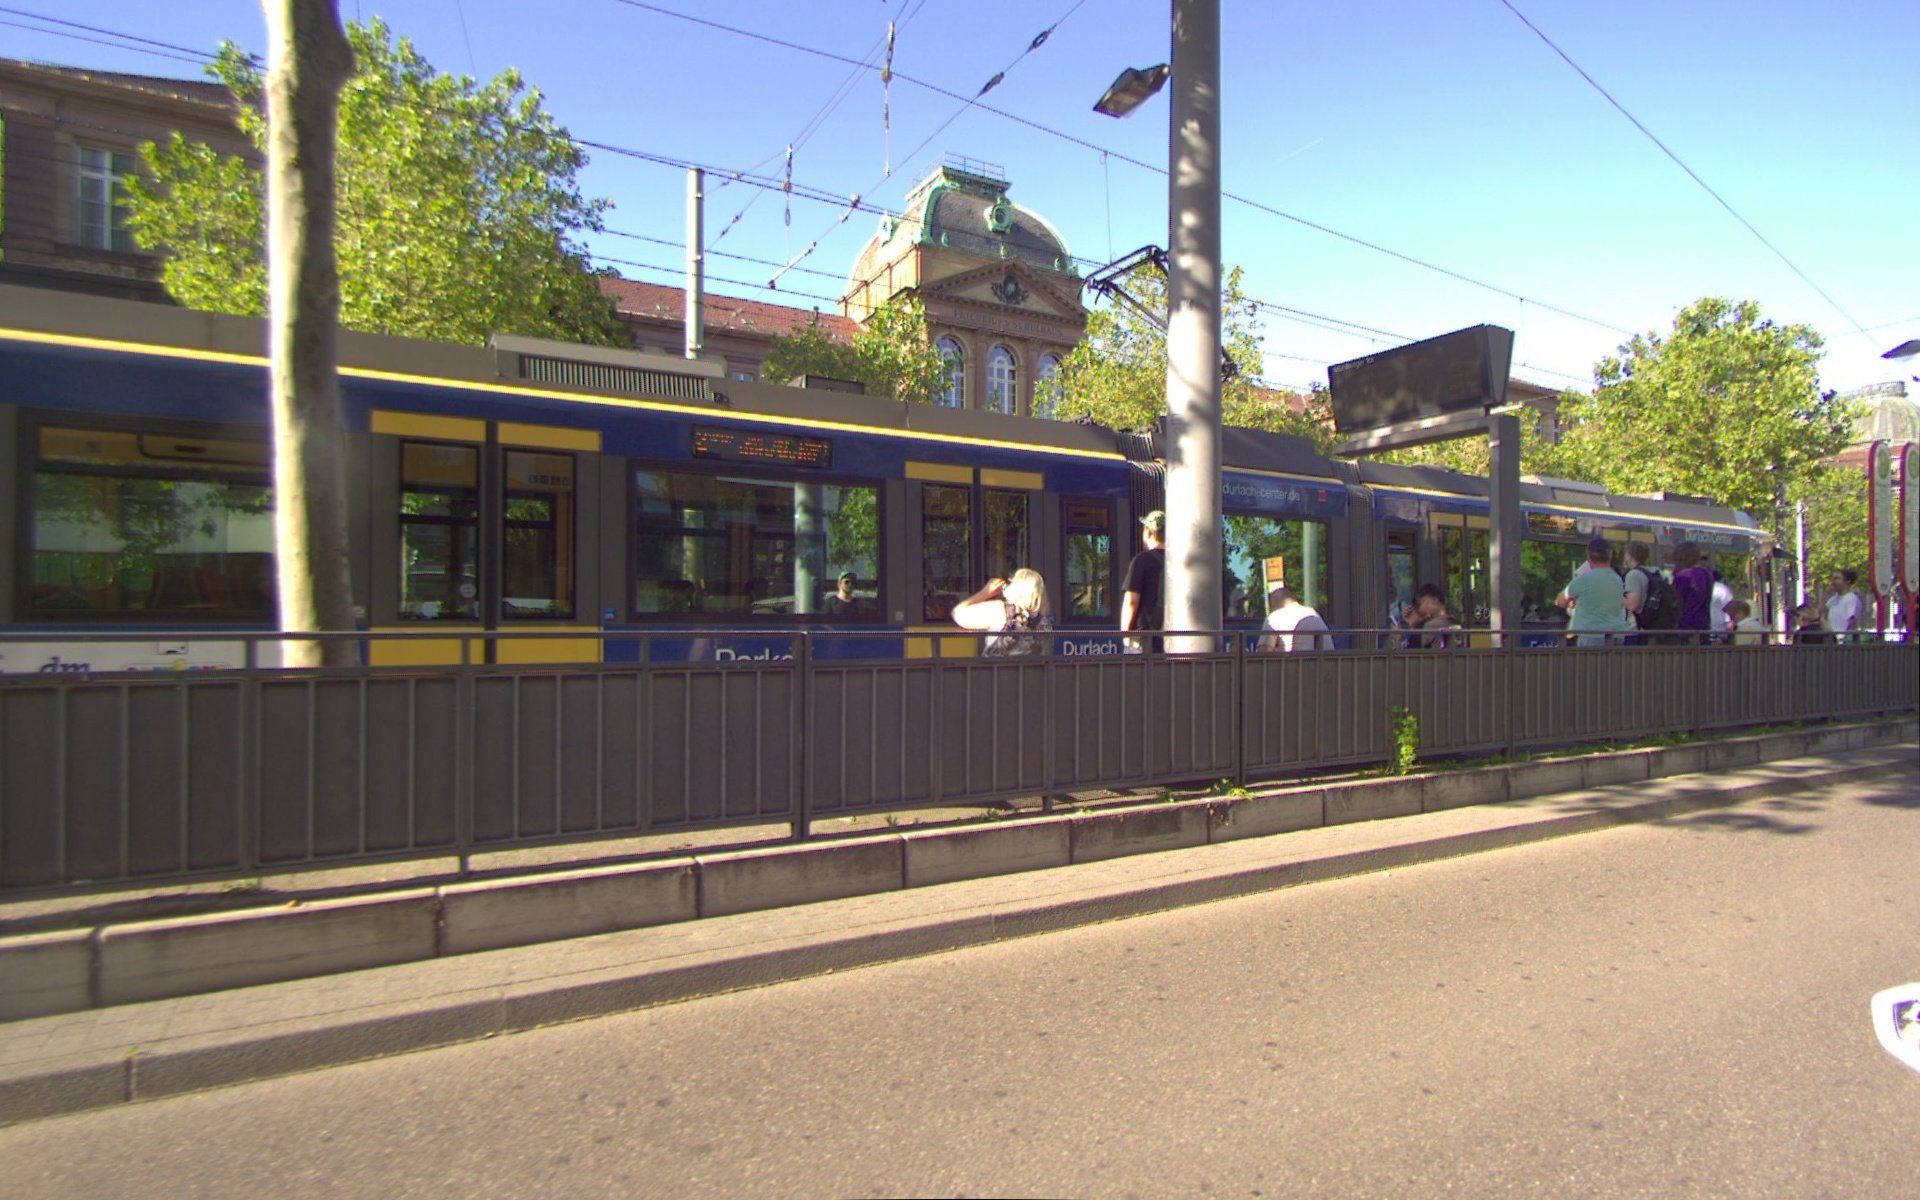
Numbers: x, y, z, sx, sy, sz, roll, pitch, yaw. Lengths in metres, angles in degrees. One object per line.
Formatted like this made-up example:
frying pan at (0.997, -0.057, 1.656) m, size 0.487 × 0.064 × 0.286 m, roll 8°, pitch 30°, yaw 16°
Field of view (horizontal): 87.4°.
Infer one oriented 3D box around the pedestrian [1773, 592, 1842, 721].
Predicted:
pedestrian at (8.993, 0.589, 10.662) m, size 0.501 × 1.333 × 0.413 m, roll 1°, pitch -1°, yaw -32°

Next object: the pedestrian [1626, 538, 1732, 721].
pedestrian at (7.052, 0.288, 9.862) m, size 0.564 × 1.718 × 0.658 m, roll 1°, pitch -1°, yaw -29°

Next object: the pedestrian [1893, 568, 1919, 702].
pedestrian at (12.763, 0.463, 13.296) m, size 0.535 × 1.757 × 0.543 m, roll 1°, pitch -1°, yaw -41°

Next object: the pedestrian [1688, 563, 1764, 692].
pedestrian at (10.611, 0.382, 13.914) m, size 0.739 × 1.724 × 0.629 m, roll 1°, pitch -1°, yaw -34°

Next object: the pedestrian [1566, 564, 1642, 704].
pedestrian at (7.336, 0.385, 11.453) m, size 0.524 × 1.539 × 0.542 m, roll 1°, pitch -1°, yaw -30°

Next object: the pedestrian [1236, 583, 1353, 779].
pedestrian at (2.379, 0.553, 7.148) m, size 0.598 × 1.316 × 0.531 m, roll 1°, pitch -2°, yaw -33°

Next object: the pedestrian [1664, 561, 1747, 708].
pedestrian at (8.940, 0.411, 12.060) m, size 0.599 × 1.724 × 0.507 m, roll 0°, pitch -1°, yaw 4°

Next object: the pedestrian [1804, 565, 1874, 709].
pedestrian at (10.910, 0.453, 12.468) m, size 0.605 × 1.724 × 0.502 m, roll 1°, pitch -1°, yaw -34°

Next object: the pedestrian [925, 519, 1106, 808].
pedestrian at (0.310, 0.348, 5.843) m, size 0.744 × 1.529 × 0.771 m, roll 1°, pitch -2°, yaw -33°

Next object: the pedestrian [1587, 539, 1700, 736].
pedestrian at (6.230, 0.337, 9.172) m, size 0.564 × 1.718 × 0.658 m, roll 1°, pitch -1°, yaw -29°

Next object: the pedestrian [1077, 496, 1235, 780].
pedestrian at (1.315, 0.250, 6.810) m, size 0.715 × 1.776 × 0.771 m, roll 1°, pitch -2°, yaw -33°

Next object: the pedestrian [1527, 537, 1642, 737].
pedestrian at (5.438, 0.319, 8.761) m, size 0.564 × 1.655 × 0.658 m, roll 1°, pitch -1°, yaw -29°

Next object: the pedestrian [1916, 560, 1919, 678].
pedestrian at (14.715, 0.283, 14.977) m, size 0.534 × 1.757 × 0.544 m, roll 1°, pitch -1°, yaw -34°

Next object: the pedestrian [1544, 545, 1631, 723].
pedestrian at (6.350, 0.342, 10.170) m, size 0.614 × 1.731 × 0.512 m, roll 1°, pitch -1°, yaw -30°

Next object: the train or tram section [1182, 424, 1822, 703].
train or tram section at (9.523, -0.252, 16.455) m, size 12.960 × 3.303 × 2.900 m, roll 2°, pitch 0°, yaw -31°

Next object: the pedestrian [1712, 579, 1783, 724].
pedestrian at (10.063, 0.649, 12.842) m, size 0.605 × 1.793 × 0.550 m, roll 1°, pitch -1°, yaw -34°

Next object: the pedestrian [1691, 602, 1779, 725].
pedestrian at (7.899, 0.636, 10.244) m, size 0.524 × 1.208 × 0.542 m, roll 1°, pitch -1°, yaw -30°

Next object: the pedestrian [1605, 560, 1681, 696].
pedestrian at (8.692, 0.352, 12.786) m, size 0.616 × 1.671 × 0.615 m, roll 1°, pitch -1°, yaw -34°

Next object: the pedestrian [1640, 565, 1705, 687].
pedestrian at (10.333, 0.373, 14.572) m, size 0.540 × 1.724 × 0.605 m, roll 1°, pitch -1°, yaw -34°

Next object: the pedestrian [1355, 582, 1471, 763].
pedestrian at (3.335, 0.518, 7.407) m, size 0.598 × 1.263 × 0.531 m, roll 1°, pitch -2°, yaw -32°

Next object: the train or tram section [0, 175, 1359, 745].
train or tram section at (-2.809, -0.701, 9.150) m, size 15.708 × 3.303 × 2.900 m, roll 2°, pitch 0°, yaw -31°
